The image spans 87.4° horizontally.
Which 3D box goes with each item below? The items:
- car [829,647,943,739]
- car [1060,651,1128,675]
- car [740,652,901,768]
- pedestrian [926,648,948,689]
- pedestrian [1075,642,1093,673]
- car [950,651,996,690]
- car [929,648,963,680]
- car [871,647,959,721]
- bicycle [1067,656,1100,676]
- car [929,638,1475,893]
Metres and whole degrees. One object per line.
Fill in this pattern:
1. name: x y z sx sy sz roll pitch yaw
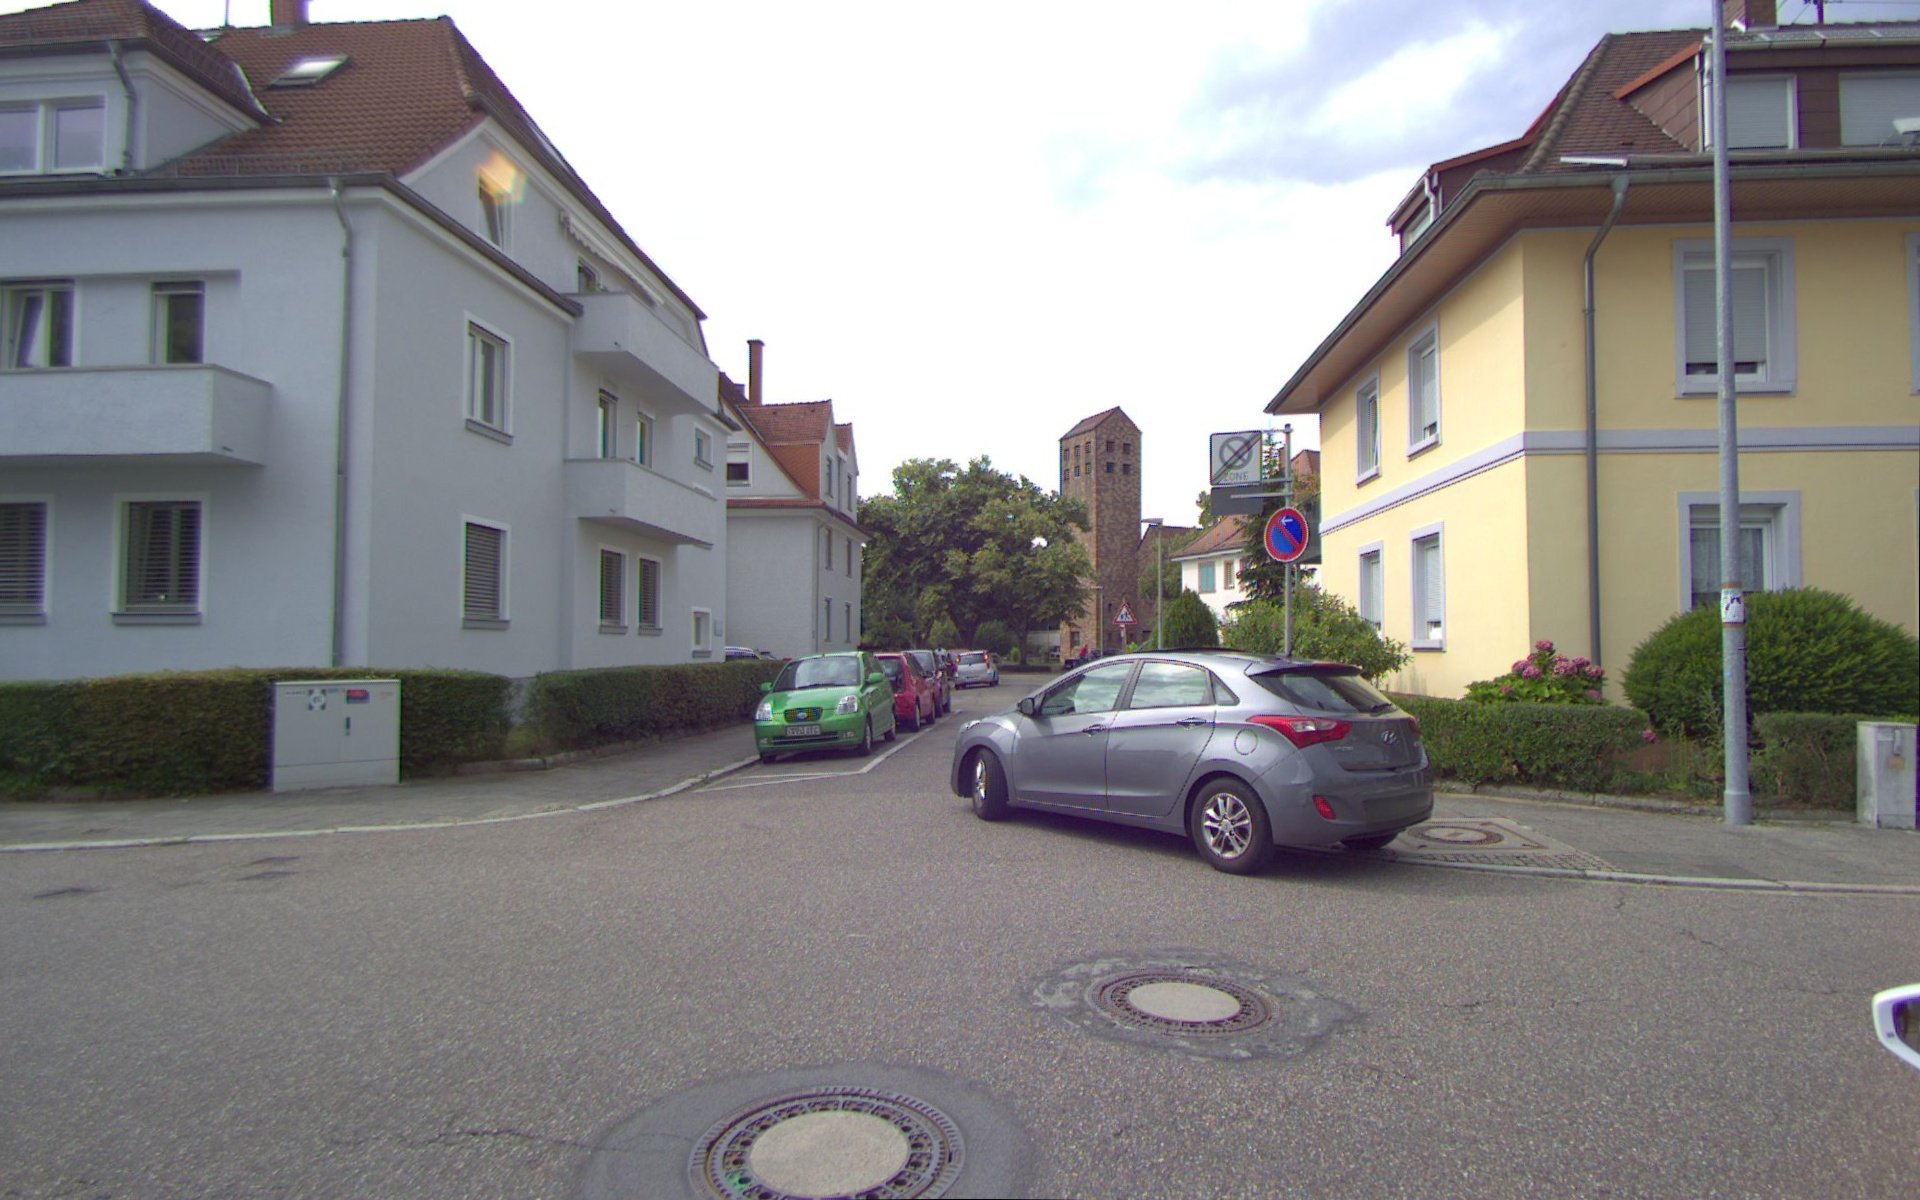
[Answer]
1. car: -1.330 1.715 19.352 1.618 1.515 3.484 -4 -3 4
2. car: 8.359 3.940 63.058 4.142 1.483 1.685 0 -1 4
3. car: -1.955 1.542 15.026 1.618 1.440 3.484 -4 -3 4
4. pedestrian: -1.075 3.206 46.977 0.866 1.903 1.079 0 -3 5
5. pedestrian: 7.361 3.433 59.741 0.912 1.841 0.623 0 -2 -7
6. car: 0.583 2.940 42.351 1.618 1.515 3.484 -4 -3 4
7. car: -0.743 3.321 52.517 1.619 1.515 3.482 -3 -3 -1
8. car: -0.990 1.927 23.762 1.618 1.515 3.484 -4 -3 4
9. bicycle: 7.340 3.927 59.713 1.861 1.145 0.454 0 -3 -7
10. car: 1.684 1.089 8.104 1.839 1.500 3.996 2 -4 -40
